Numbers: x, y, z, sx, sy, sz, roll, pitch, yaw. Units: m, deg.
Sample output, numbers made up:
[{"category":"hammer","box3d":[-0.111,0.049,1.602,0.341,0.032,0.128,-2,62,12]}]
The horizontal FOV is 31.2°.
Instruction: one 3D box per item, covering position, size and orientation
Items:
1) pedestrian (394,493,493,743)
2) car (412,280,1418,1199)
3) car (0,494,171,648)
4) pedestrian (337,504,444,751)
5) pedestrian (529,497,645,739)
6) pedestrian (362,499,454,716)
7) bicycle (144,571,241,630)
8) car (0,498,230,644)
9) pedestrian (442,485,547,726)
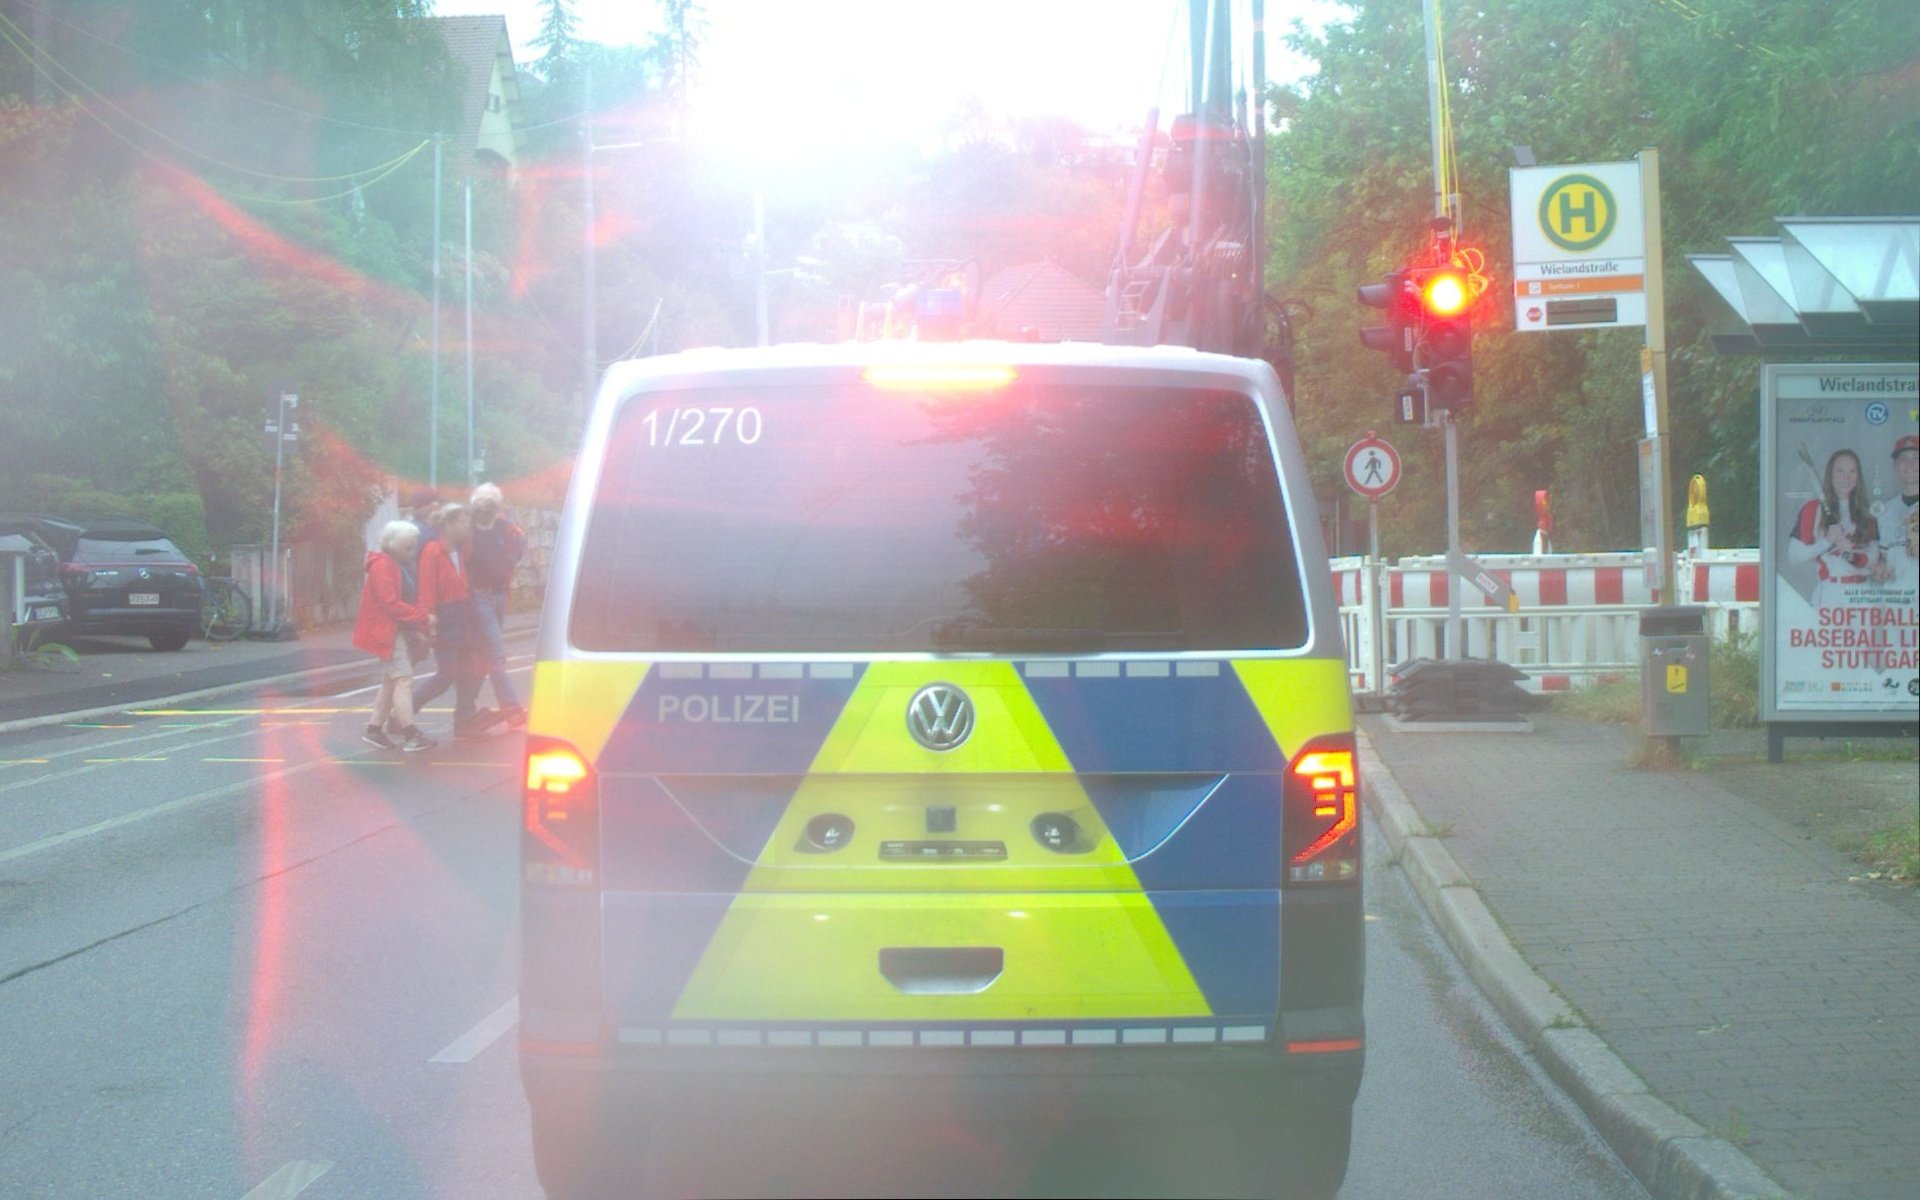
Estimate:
[{"category":"pedestrian","box3d":[-3.493,0.124,23.272,0.549,1.662,0.414,1,-1,2]},{"category":"car","box3d":[-0.158,0.316,9.062,1.993,2.007,4.402,0,2,-2]},{"category":"car","box3d":[-10.284,-0.311,34.968,3.989,1.481,1.759,1,-1,11]},{"category":"pedestrian","box3d":[-3.707,0.178,22.386,0.563,1.577,0.468,1,-1,2]},{"category":"pedestrian","box3d":[-2.383,0.118,22.023,0.626,1.517,0.593,1,-1,2]},{"category":"pedestrian","box3d":[-3.874,0.056,24.137,0.525,1.502,0.429,1,-1,2]},{"category":"bicycle","box3d":[-8.942,0.006,40.060,1.054,0.660,0.320,1,-1,10]},{"category":"car","box3d":[-10.124,-0.322,37.117,3.989,1.481,1.759,1,-1,11]},{"category":"pedestrian","box3d":[-3.373,0.043,24.939,0.626,1.709,0.593,1,-1,2]}]
